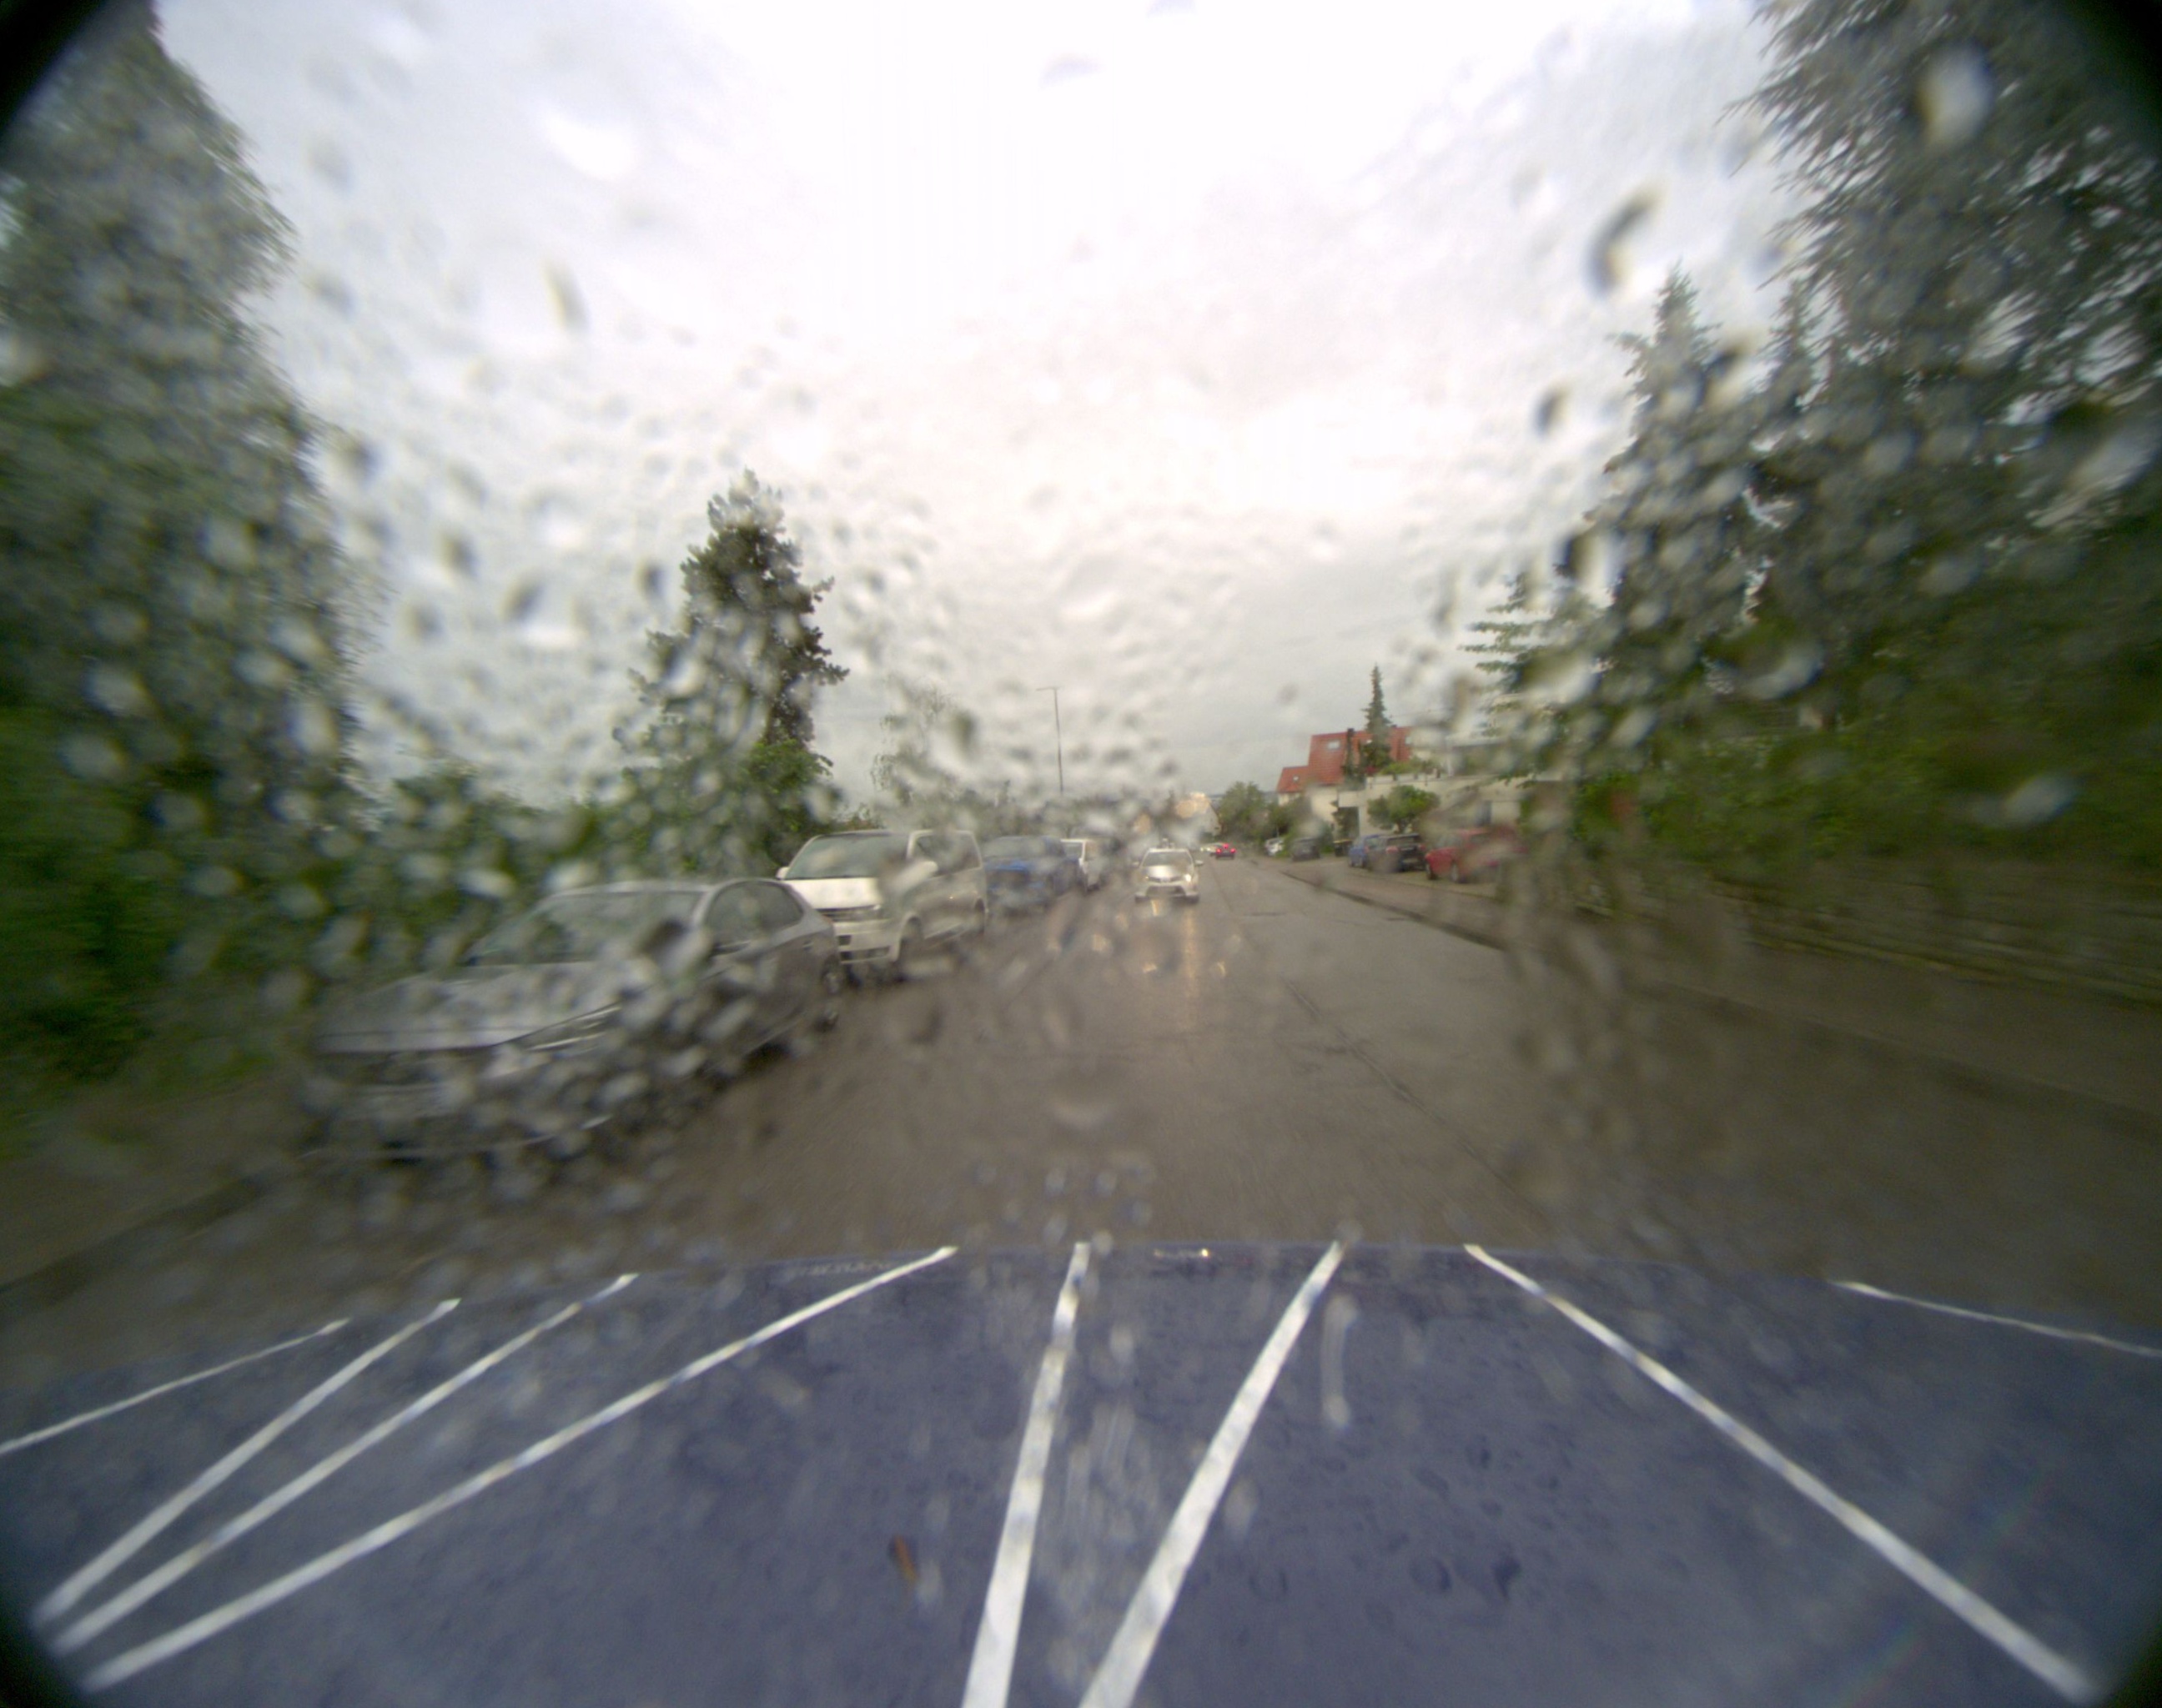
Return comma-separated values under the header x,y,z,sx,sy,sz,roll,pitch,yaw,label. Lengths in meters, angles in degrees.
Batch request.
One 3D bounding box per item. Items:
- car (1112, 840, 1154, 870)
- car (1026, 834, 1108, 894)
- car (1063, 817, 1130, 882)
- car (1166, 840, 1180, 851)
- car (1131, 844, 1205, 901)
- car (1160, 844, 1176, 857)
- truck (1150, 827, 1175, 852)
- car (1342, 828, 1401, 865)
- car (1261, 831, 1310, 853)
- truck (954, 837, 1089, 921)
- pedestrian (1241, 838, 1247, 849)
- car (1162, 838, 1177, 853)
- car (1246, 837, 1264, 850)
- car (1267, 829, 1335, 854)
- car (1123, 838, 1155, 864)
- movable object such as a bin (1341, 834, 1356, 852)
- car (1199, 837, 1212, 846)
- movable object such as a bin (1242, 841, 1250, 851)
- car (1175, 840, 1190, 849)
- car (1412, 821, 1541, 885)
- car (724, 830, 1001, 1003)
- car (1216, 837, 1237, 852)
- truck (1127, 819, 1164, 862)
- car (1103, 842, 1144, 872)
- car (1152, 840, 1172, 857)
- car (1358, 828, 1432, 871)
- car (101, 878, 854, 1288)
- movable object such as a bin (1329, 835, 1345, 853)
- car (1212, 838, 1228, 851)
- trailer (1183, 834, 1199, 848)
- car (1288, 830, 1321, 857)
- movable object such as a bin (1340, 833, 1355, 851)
x,y,z,sx,sy,sz,roll,pitch,yaw,label
3.199,0.000,45.970,1.939,1.662,4.697,-1,1,11,car
-0.355,0.251,26.231,1.830,1.832,5.272,-1,1,10,car
0.804,-0.237,32.766,2.035,2.491,5.959,-1,1,9,car
13.769,-1.265,113.837,1.819,1.498,4.726,-1,1,10,car
2.581,0.464,21.887,1.862,1.370,4.183,-3,1,9,car
11.029,-0.449,96.112,1.650,1.554,3.965,-1,1,10,car
9.082,-1.684,84.661,2.243,2.617,6.541,-1,1,10,truck
13.310,-0.343,35.011,1.610,1.426,3.961,-6,0,8,car
19.272,-1.126,71.568,4.059,1.682,1.896,-6,1,23,car
-1.336,0.512,20.551,2.118,1.841,6.621,-2,1,8,truck
23.443,-1.513,109.292,0.718,1.626,0.707,-2,1,11,pedestrian
11.991,-1.216,102.692,1.852,1.871,4.912,-1,1,7,car
21.336,-1.304,93.331,1.806,1.588,4.419,-1,1,9,car
18.299,-1.009,63.289,5.088,1.933,2.145,-1,2,25,car
4.236,-0.247,54.755,1.849,1.674,5.641,-1,1,9,car
17.608,-0.720,49.999,0.725,1.064,0.767,-6,1,27,movable object such as a bin
21.907,-2.139,133.233,1.818,1.498,4.728,-1,1,14,car
16.755,-0.815,77.153,0.604,1.058,0.698,-3,1,5,movable object such as a bin
17.394,-1.608,129.946,1.795,1.451,4.793,-1,1,15,car
11.060,-0.068,21.648,1.777,1.429,4.590,-7,0,9,car
-2.787,0.684,11.205,1.864,1.910,5.081,-3,1,9,car
14.568,-0.965,76.215,1.777,1.429,4.364,1,1,8,car
5.415,-1.143,62.654,2.440,3.316,7.968,-1,1,9,truck
2.260,0.122,39.695,1.592,1.421,3.800,-1,1,11,car
8.295,-0.605,77.219,1.762,1.595,4.668,-1,1,9,car
12.090,-0.204,29.500,1.636,1.388,4.241,-6,0,9,car
-3.095,1.018,5.155,1.689,1.448,4.057,-3,1,2,car
16.965,-0.651,50.341,0.725,1.064,0.850,-6,1,27,movable object such as a bin
17.340,-1.240,94.919,1.802,1.558,4.386,-1,1,9,car
20.435,-2.401,140.869,1.951,2.443,5.440,-1,2,19,trailer
15.748,-0.777,53.703,1.692,1.579,4.200,-9,-1,12,car
17.265,-0.755,49.192,0.725,1.064,0.767,-6,1,27,movable object such as a bin
